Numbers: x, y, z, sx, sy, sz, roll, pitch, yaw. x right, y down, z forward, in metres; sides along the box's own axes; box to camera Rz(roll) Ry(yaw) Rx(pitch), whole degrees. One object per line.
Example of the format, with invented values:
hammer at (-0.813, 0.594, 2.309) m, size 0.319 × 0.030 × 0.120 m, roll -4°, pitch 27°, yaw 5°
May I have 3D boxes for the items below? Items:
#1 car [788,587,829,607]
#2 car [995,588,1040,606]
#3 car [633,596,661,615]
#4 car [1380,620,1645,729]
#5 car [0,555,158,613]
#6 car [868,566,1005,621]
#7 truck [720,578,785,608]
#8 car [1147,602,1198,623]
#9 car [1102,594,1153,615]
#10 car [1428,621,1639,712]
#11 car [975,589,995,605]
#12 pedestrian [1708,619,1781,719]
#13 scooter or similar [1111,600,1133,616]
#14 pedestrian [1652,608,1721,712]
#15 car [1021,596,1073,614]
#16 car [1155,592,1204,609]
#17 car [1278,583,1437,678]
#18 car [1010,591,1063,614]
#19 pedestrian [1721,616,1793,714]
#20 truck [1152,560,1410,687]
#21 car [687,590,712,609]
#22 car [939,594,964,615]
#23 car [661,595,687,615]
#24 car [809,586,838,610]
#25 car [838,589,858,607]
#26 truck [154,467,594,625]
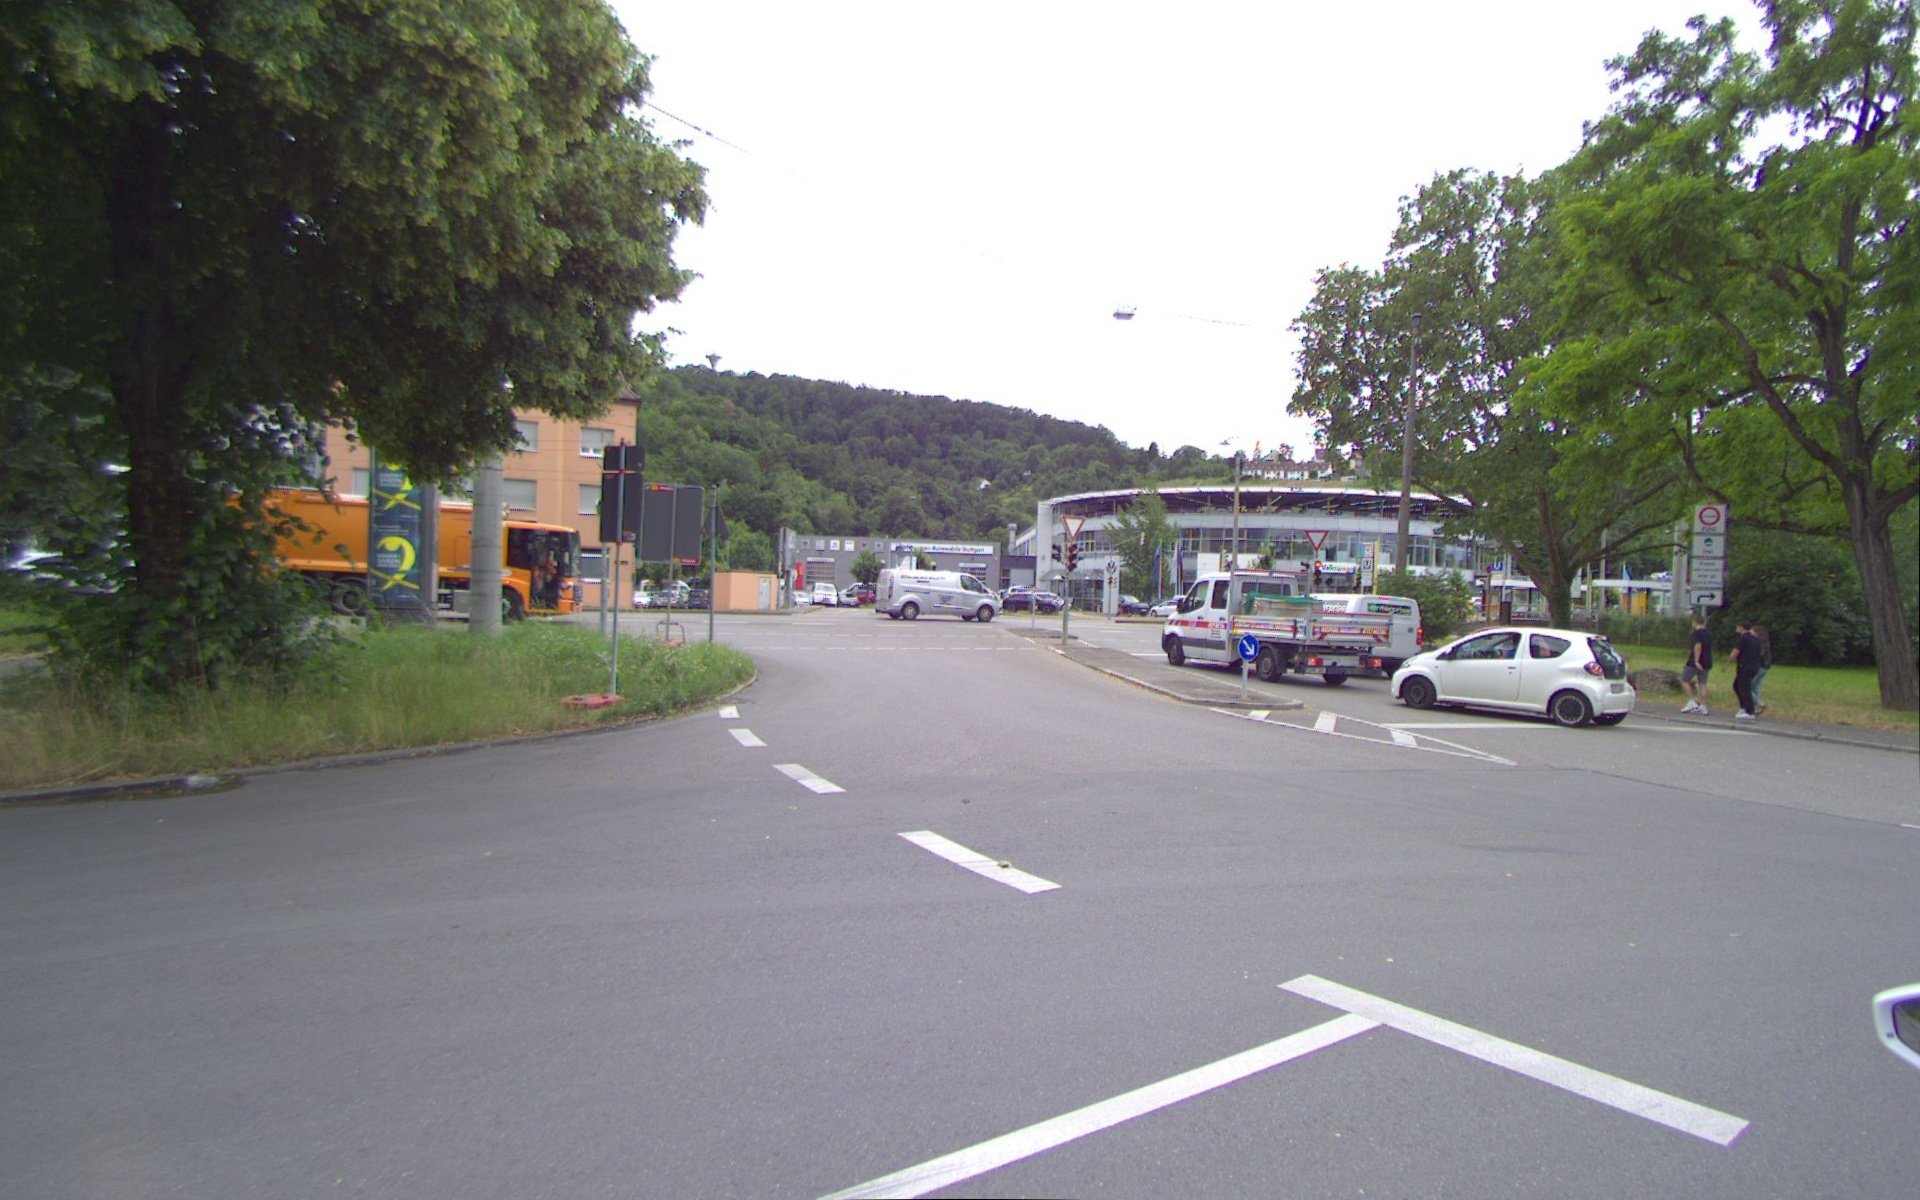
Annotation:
car at (-13.142, -0.250, 86.868) m, size 1.760 × 1.554 × 4.045 m, roll 1°, pitch 1°, yaw -38°
car at (6.337, -0.308, 110.509) m, size 4.719 × 1.827 × 1.775 m, roll 2°, pitch 1°, yaw -3°
car at (-27.099, 0.453, 87.014) m, size 1.752 × 1.539 × 3.623 m, roll 2°, pitch 1°, yaw -10°
car at (8.862, 1.109, 16.317) m, size 1.629 × 1.452 × 3.394 m, roll 1°, pitch 1°, yaw -37°
car at (-26.337, -0.488, 28.821) m, size 4.823 × 1.528 × 1.796 m, roll 2°, pitch 2°, yaw -21°
car at (-0.958, -0.261, 40.938) m, size 5.223 × 2.041 × 1.962 m, roll 2°, pitch 1°, yaw -22°
truck at (-18.044, -0.565, 87.405) m, size 5.146 × 2.425 × 1.981 m, roll 1°, pitch 1°, yaw -34°
car at (17.358, 0.998, 82.168) m, size 1.759 × 1.521 × 3.980 m, roll 1°, pitch 1°, yaw -36°
car at (13.310, 0.352, 79.987) m, size 1.760 × 1.521 × 3.838 m, roll 1°, pitch 1°, yaw -38°
car at (11.155, 1.248, 19.800) m, size 1.618 × 1.476 × 3.418 m, roll 3°, pitch 0°, yaw -17°
car at (2.650, -0.326, 106.138) m, size 1.741 × 1.554 × 4.088 m, roll 2°, pitch 1°, yaw -3°
pedestrian at (14.289, 1.236, 18.296) m, size 0.686 × 1.737 × 0.783 m, roll 1°, pitch 1°, yaw -24°
scooter or similar at (12.434, 0.608, 77.136) m, size 1.640 × 1.193 × 0.467 m, roll 2°, pitch 1°, yaw 1°
pedestrian at (13.634, 1.110, 18.862) m, size 0.686 × 1.882 × 0.783 m, roll 1°, pitch 1°, yaw -24°
car at (8.247, 0.446, 95.491) m, size 4.719 × 1.554 × 1.775 m, roll 2°, pitch 1°, yaw -3°
car at (20.792, 0.036, 95.138) m, size 4.150 × 1.512 × 1.788 m, roll 2°, pitch 1°, yaw 40°
car at (9.854, 0.689, 25.361) m, size 1.957 × 2.135 × 4.760 m, roll 1°, pitch 0°, yaw -2°
car at (5.753, 0.176, 75.340) m, size 3.802 × 1.521 × 1.776 m, roll 2°, pitch 1°, yaw 11°
pedestrian at (14.881, 1.187, 18.758) m, size 0.686 × 1.763 × 0.783 m, roll 1°, pitch 1°, yaw -24°
truck at (6.908, 0.437, 22.574) m, size 2.392 × 2.430 × 6.002 m, roll 1°, pitch 0°, yaw -19°
car at (-22.504, -0.066, 86.989) m, size 1.752 × 1.539 × 3.623 m, roll 2°, pitch 1°, yaw -10°
car at (-0.779, 0.372, 92.282) m, size 1.962 × 1.840 × 3.997 m, roll 2°, pitch 1°, yaw -4°
car at (-24.863, 0.410, 87.319) m, size 1.752 × 1.539 × 3.623 m, roll 2°, pitch 1°, yaw -10°
car at (-10.984, -0.192, 80.633) m, size 1.834 × 1.842 × 4.389 m, roll 2°, pitch 1°, yaw -14°
car at (-10.245, -0.190, 92.106) m, size 1.742 × 1.554 × 4.087 m, roll 2°, pitch 1°, yaw -5°
truck at (-16.047, -1.385, 28.514) m, size 10.250 × 3.573 × 2.789 m, roll 3°, pitch 1°, yaw -15°
